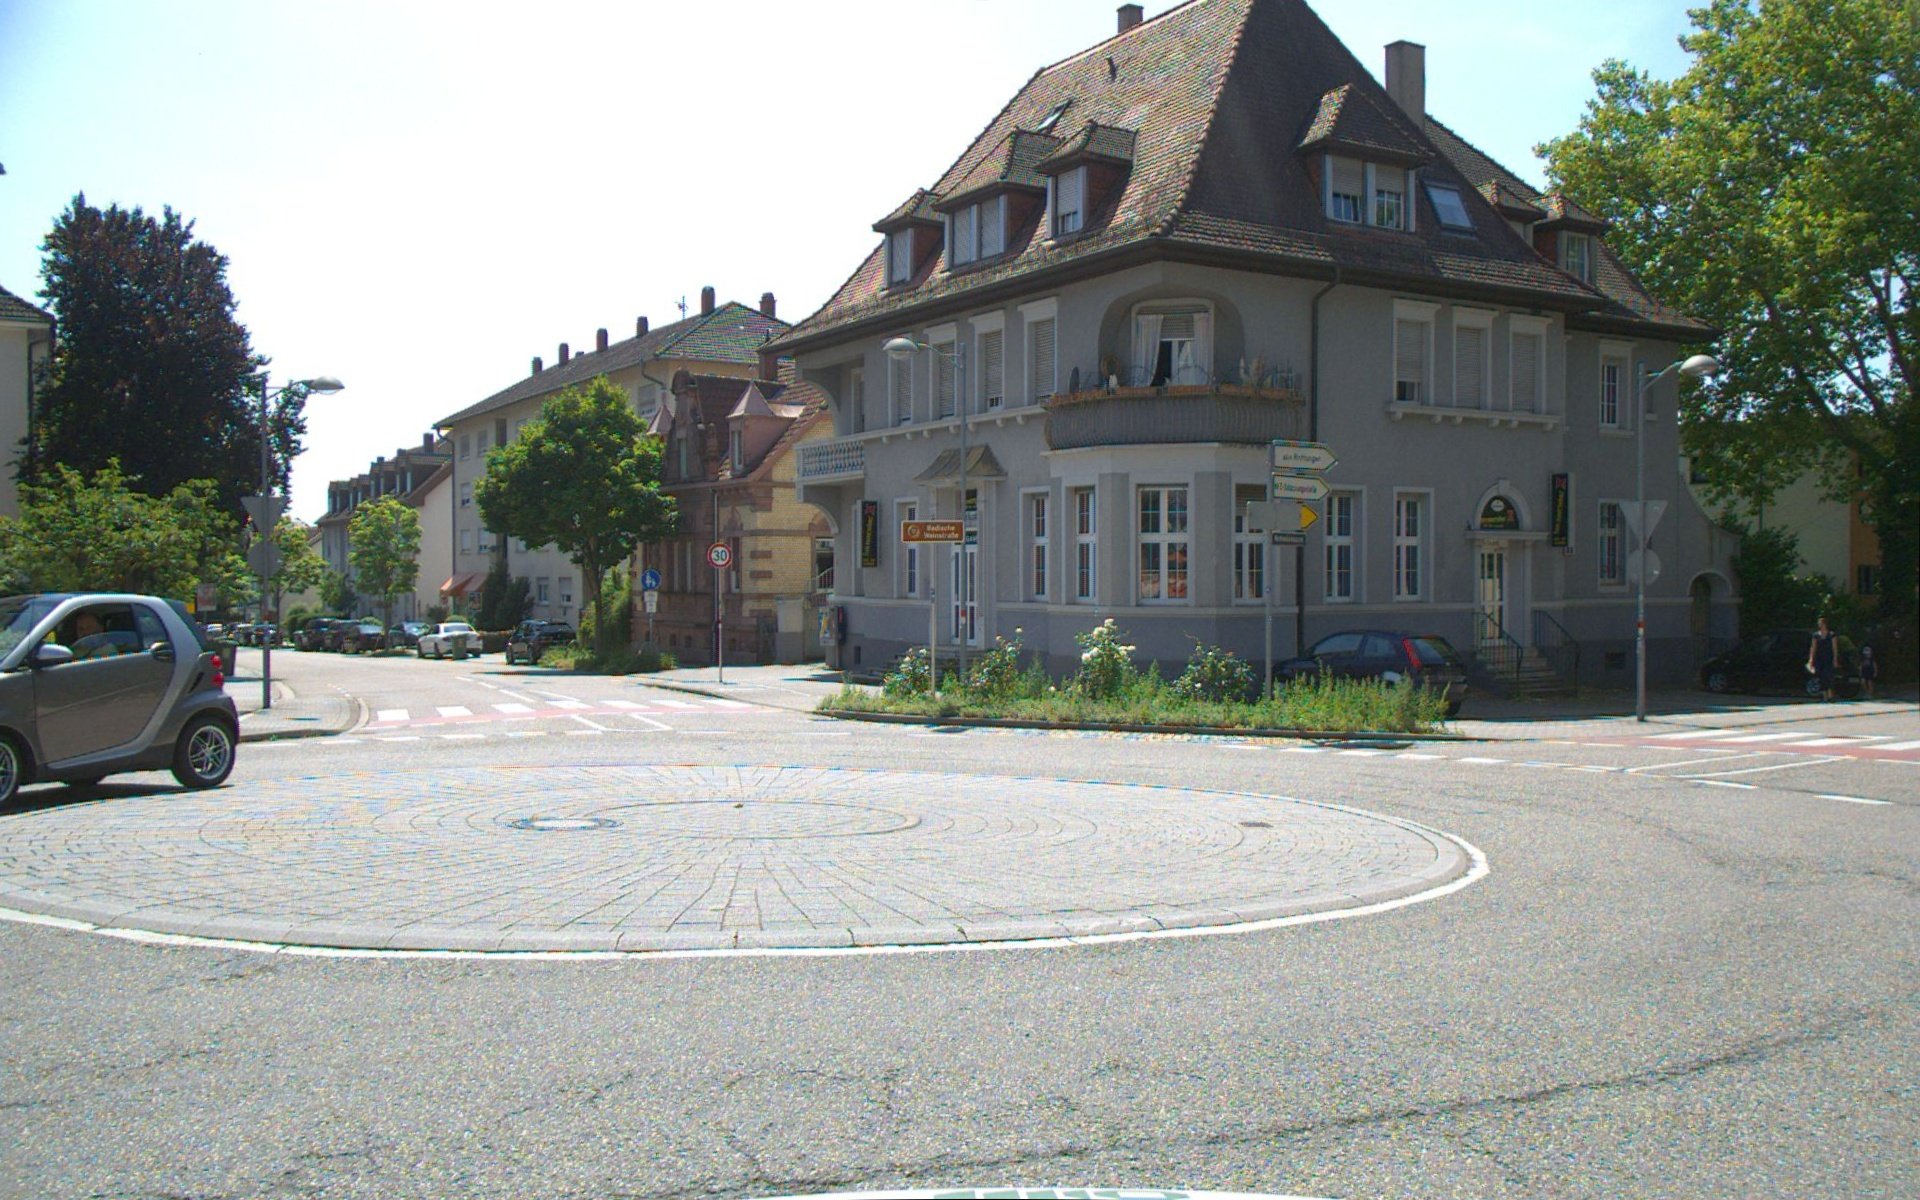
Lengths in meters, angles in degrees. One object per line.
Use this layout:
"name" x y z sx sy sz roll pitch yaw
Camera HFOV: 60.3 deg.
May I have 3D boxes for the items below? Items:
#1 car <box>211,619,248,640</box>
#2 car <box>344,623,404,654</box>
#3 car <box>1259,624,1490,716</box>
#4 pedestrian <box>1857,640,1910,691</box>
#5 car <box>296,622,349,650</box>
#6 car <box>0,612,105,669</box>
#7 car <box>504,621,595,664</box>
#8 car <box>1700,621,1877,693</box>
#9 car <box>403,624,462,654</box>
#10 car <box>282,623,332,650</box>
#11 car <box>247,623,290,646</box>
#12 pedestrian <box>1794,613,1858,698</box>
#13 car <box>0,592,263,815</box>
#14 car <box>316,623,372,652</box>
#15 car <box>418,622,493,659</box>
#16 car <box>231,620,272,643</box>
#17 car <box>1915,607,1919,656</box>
"car" -55.203 2.257 124.976 1.974 1.514 3.957 2 -2 -32
"car" -29.726 1.939 83.792 1.975 1.535 4.369 1 -1 -32
"car" 7.206 1.181 29.028 1.705 1.486 3.744 1 -1 -36
"pedestrian" 20.805 1.468 37.261 0.888 1.141 0.746 1 -1 -38
"car" -35.918 2.026 93.186 1.975 1.535 4.369 1 -1 -32
"car" -26.081 1.091 45.394 4.375 1.535 1.972 1 -1 -39
"car" -15.124 1.530 60.817 1.975 1.535 4.369 1 -1 -32
"car" 19.408 1.303 38.822 1.705 1.574 3.349 1 -1 -36
"car" -28.291 2.087 88.650 1.975 1.535 4.369 1 -1 -32
"car" -38.379 2.141 97.198 1.975 1.535 4.369 1 -1 -32
"car" -46.246 2.290 110.610 1.975 1.535 4.369 1 -1 -32
"pedestrian" 18.326 1.158 35.014 1.102 1.773 0.862 1 -1 -40
"car" -7.010 0.734 12.672 1.533 1.557 2.787 0 -1 24
"car" -33.055 1.984 88.723 1.975 1.535 4.369 1 -1 -32
"car" -21.654 1.729 70.915 1.975 1.535 4.369 1 -1 -32
"car" -49.572 2.196 115.639 1.975 1.535 4.369 1 -1 -32
"car" 37.783 1.248 61.244 3.928 1.824 1.858 2 1 41
